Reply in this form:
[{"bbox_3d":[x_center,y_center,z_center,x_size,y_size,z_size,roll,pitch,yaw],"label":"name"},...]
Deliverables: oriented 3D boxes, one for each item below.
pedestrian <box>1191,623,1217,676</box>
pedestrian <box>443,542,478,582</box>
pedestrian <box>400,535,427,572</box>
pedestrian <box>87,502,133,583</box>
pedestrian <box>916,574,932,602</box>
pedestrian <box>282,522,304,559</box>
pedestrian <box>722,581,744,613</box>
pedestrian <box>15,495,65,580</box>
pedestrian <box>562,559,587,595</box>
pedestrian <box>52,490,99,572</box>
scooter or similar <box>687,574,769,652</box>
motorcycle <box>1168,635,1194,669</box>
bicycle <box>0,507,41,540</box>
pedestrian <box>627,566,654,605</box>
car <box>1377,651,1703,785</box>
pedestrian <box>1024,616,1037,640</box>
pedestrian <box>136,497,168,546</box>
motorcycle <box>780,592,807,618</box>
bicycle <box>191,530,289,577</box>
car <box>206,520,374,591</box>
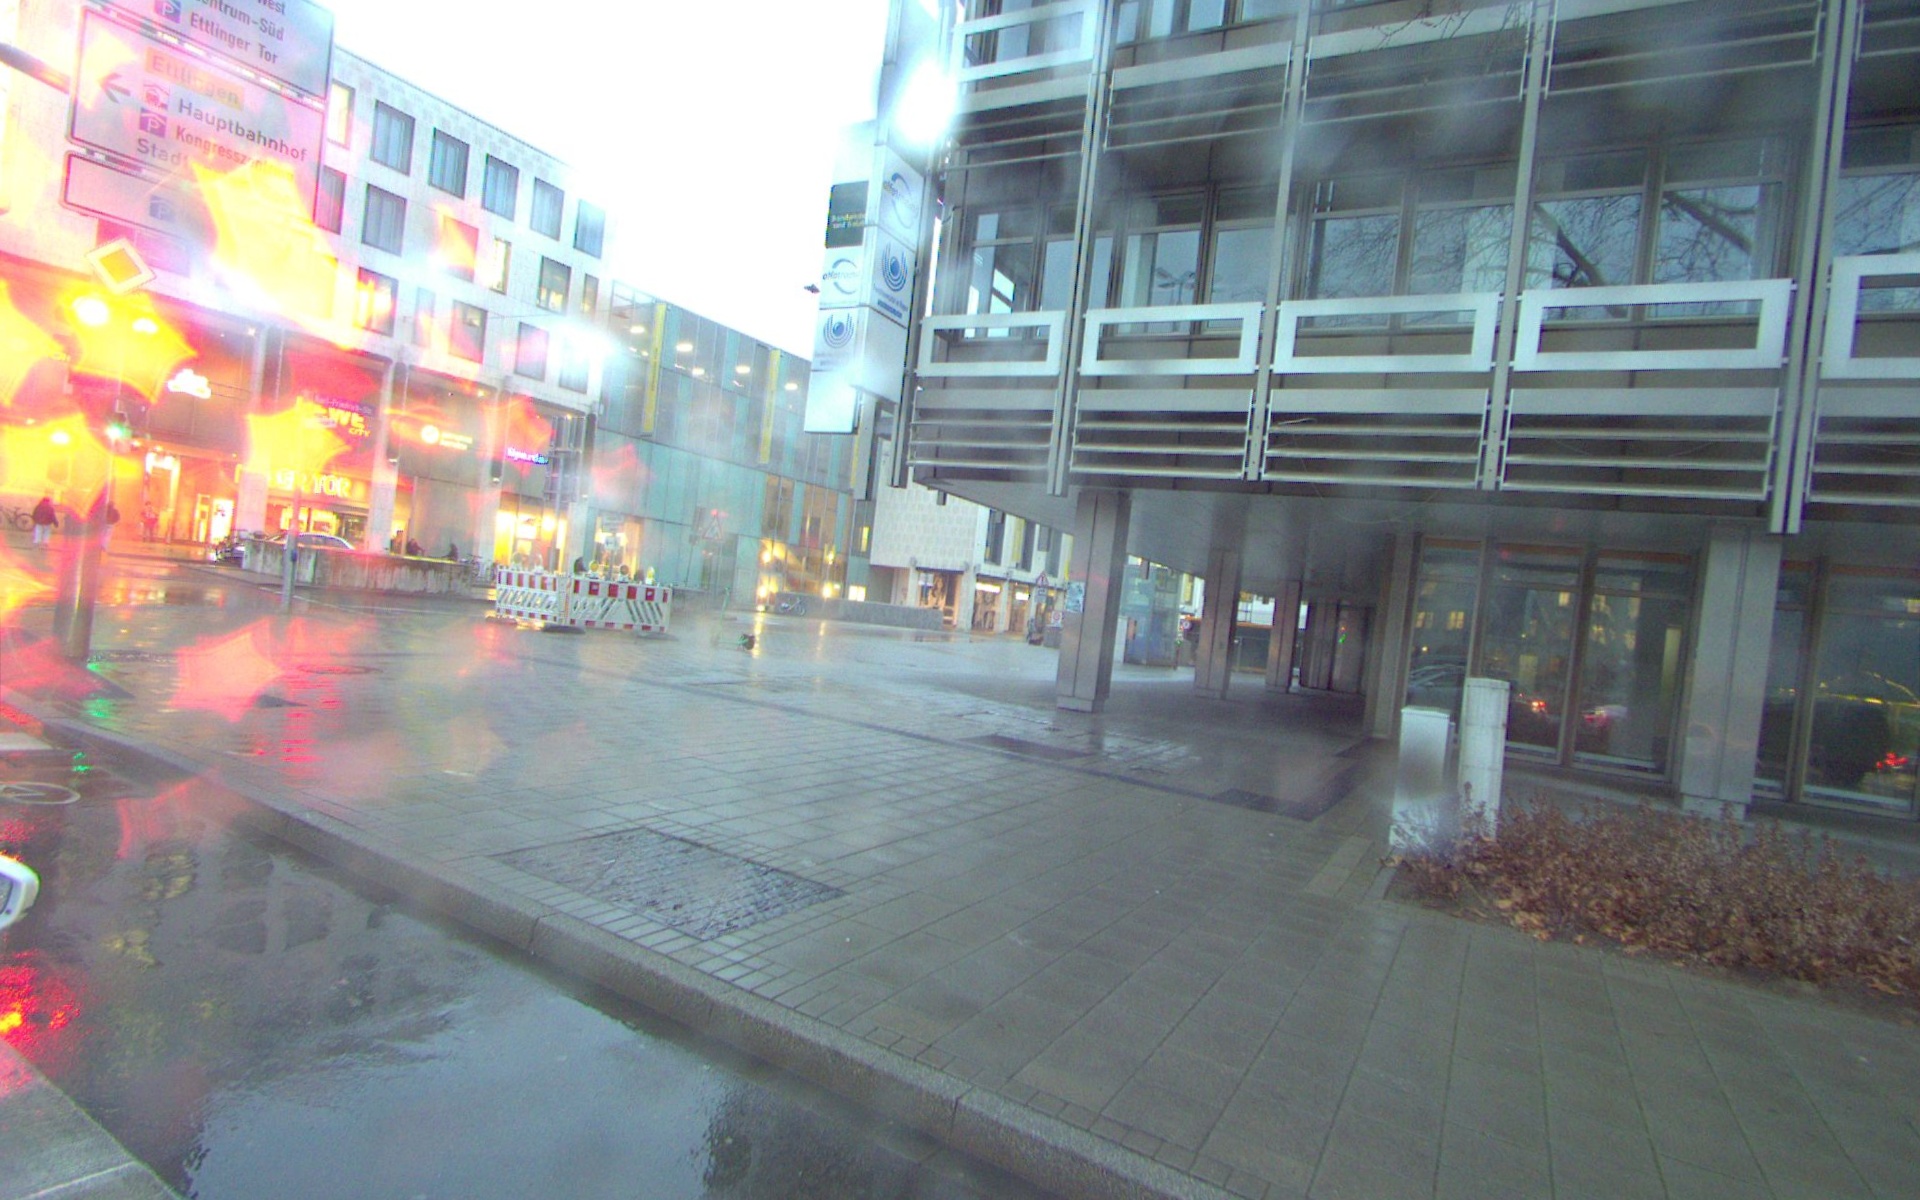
[{"bbox_3d":[8.712,1.782,35.851,0.678,1.796,0.660,7,-1,16],"label":"pedestrian"},{"bbox_3d":[-23.409,-1.773,47.185,0.810,1.703,1.032,6,-1,31],"label":"pedestrian"},{"bbox_3d":[-26.507,-2.242,48.767,0.519,1.705,0.894,6,0,31],"label":"pedestrian"},{"bbox_3d":[-27.501,-1.857,32.544,0.778,2.477,0.694,7,-1,32],"label":"pedestrian"},{"bbox_3d":[-2.277,-0.784,63.984,0.573,1.703,0.542,6,-1,38],"label":"pedestrian"},{"bbox_3d":[-33.128,-2.940,49.944,0.729,1.740,0.733,6,1,-31],"label":"pedestrian"},{"bbox_3d":[-13.110,-0.160,58.024,0.770,1.703,0.742,6,-1,38],"label":"pedestrian"},{"bbox_3d":[-28.290,-1.926,30.935,0.745,2.469,0.716,7,-1,31],"label":"pedestrian"},{"bbox_3d":[-20.199,-1.205,52.653,0.770,1.703,0.742,6,-1,38],"label":"pedestrian"},{"bbox_3d":[-27.942,-2.176,31.788,0.745,2.469,0.691,7,-1,31],"label":"pedestrian"},{"bbox_3d":[-4.667,0.263,20.223,1.470,1.368,0.593,7,-1,32],"label":"scooter or similar"},{"bbox_3d":[9.710,2.302,44.161,0.584,1.368,1.494,7,-1,29],"label":"motorcycle"},{"bbox_3d":[-36.451,-2.986,38.537,0.515,1.082,1.651,7,-2,28],"label":"bicycle"},{"bbox_3d":[-15.223,-0.687,47.957,0.770,1.703,0.742,6,-1,38],"label":"pedestrian"},{"bbox_3d":[8.673,1.677,15.269,3.935,1.327,1.994,6,1,33],"label":"car"},{"bbox_3d":[5.241,2.094,74.631,0.573,1.703,0.542,6,-1,38],"label":"pedestrian"},{"bbox_3d":[-35.924,-3.497,44.710,0.688,2.039,0.845,7,1,40],"label":"pedestrian"},{"bbox_3d":[-10.126,0.301,61.201,0.585,1.368,1.491,7,-1,36],"label":"motorcycle"},{"bbox_3d":[-26.340,-1.681,36.876,0.941,1.375,2.718,6,-1,28],"label":"bicycle"},{"bbox_3d":[-21.694,-1.403,32.712,1.968,1.636,3.994,6,-2,33],"label":"car"}]
